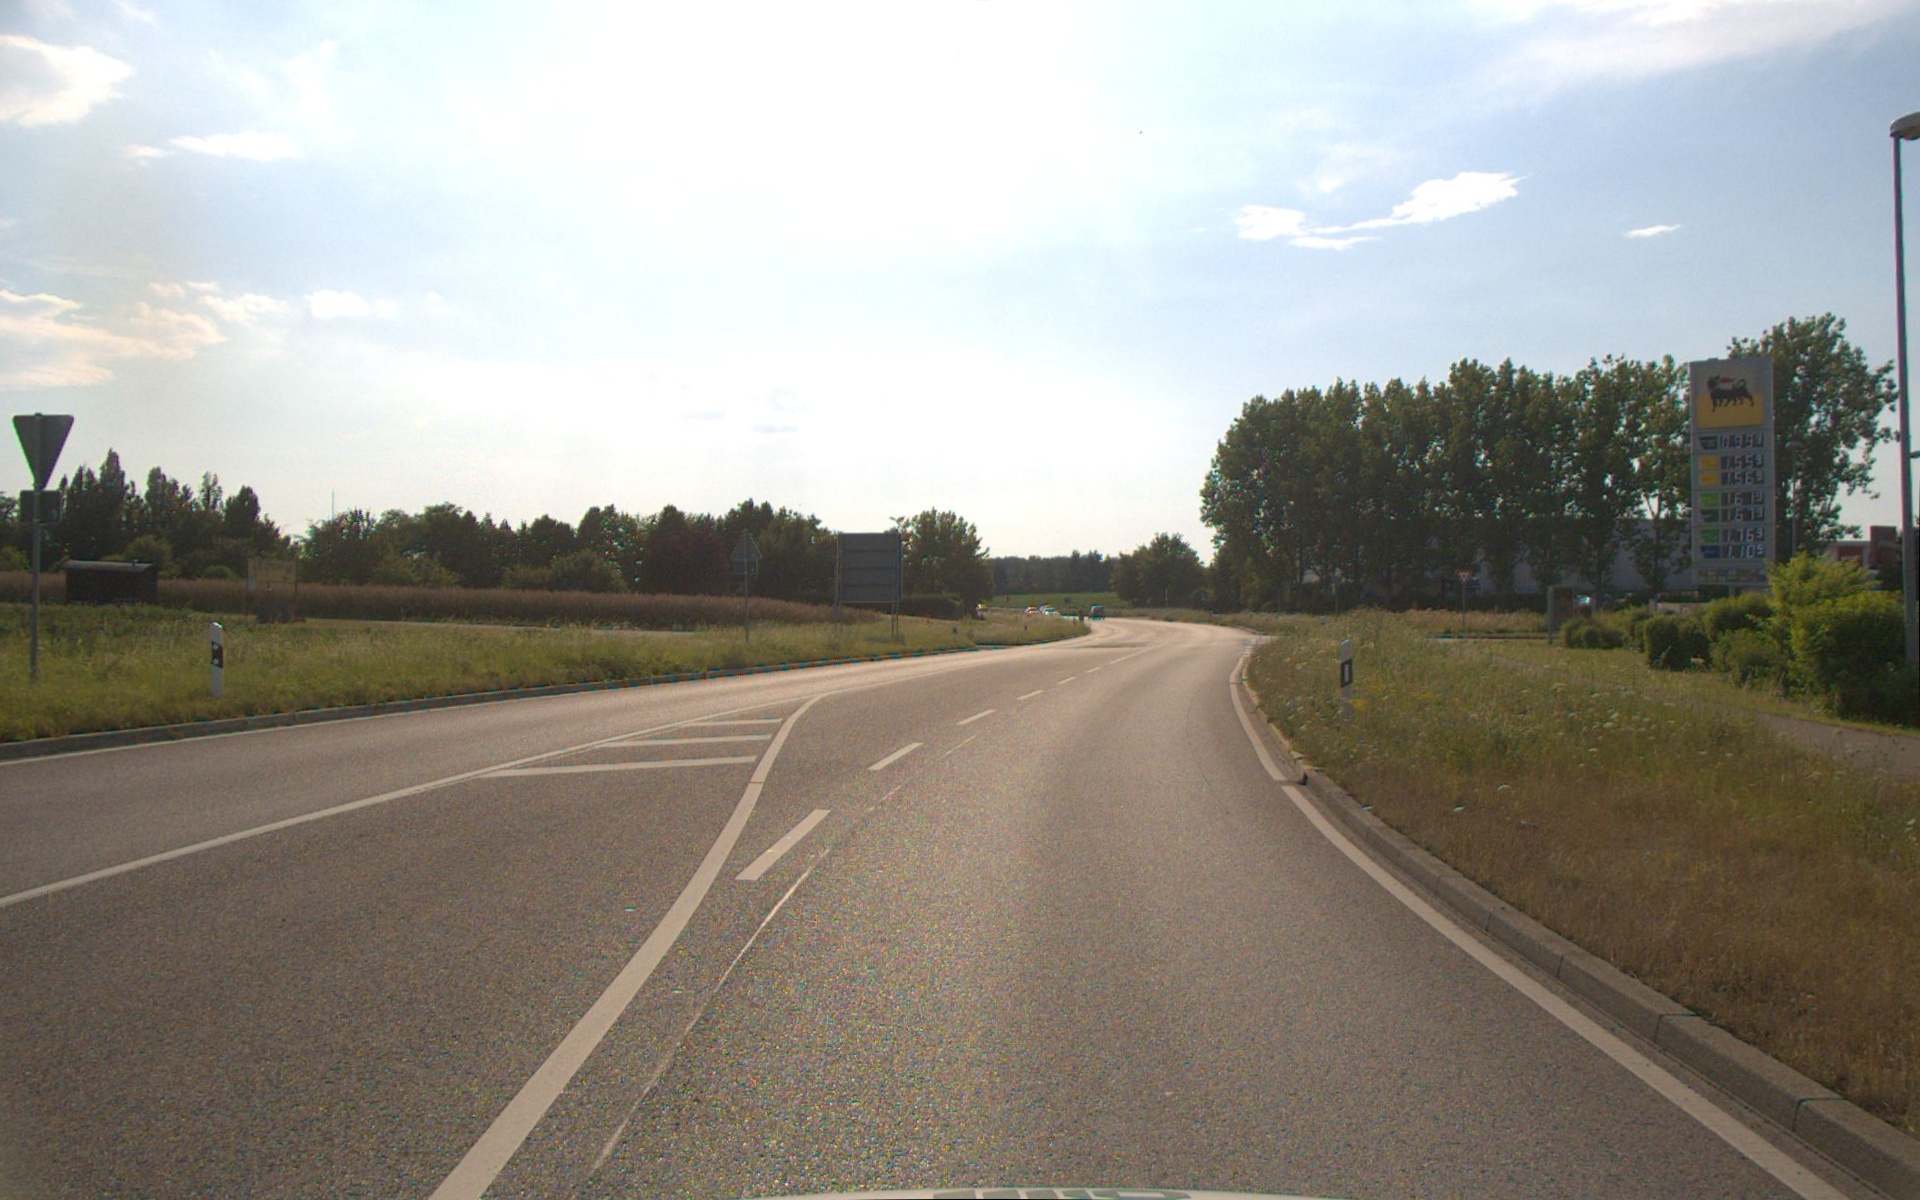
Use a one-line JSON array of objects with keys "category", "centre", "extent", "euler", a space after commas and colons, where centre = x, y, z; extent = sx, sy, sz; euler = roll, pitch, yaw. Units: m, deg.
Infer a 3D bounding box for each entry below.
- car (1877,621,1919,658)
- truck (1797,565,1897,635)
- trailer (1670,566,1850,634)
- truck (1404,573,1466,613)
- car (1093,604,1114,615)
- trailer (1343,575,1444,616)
[{"category": "car", "centre": [34.443, 1.431, 57.918], "extent": [1.575, 1.223, 3.886], "euler": [5, -2, -24]}, {"category": "truck", "centre": [52.841, 0.001, 98.634], "extent": [2.209, 3.984, 5.091], "euler": [2, -1, -19]}, {"category": "trailer", "centre": [50.929, 0.056, 105.977], "extent": [2.205, 3.984, 13.674], "euler": [2, -1, -13]}, {"category": "truck", "centre": [41.594, -0.584, 145.013], "extent": [2.578, 3.217, 5.683], "euler": [2, -2, -16]}, {"category": "car", "centre": [17.486, 1.168, 201.622], "extent": [1.929, 1.171, 3.864], "euler": [2, -1, -4]}, {"category": "trailer", "centre": [39.648, -0.301, 152.008], "extent": [2.640, 3.197, 13.211], "euler": [2, -2, -16]}]
